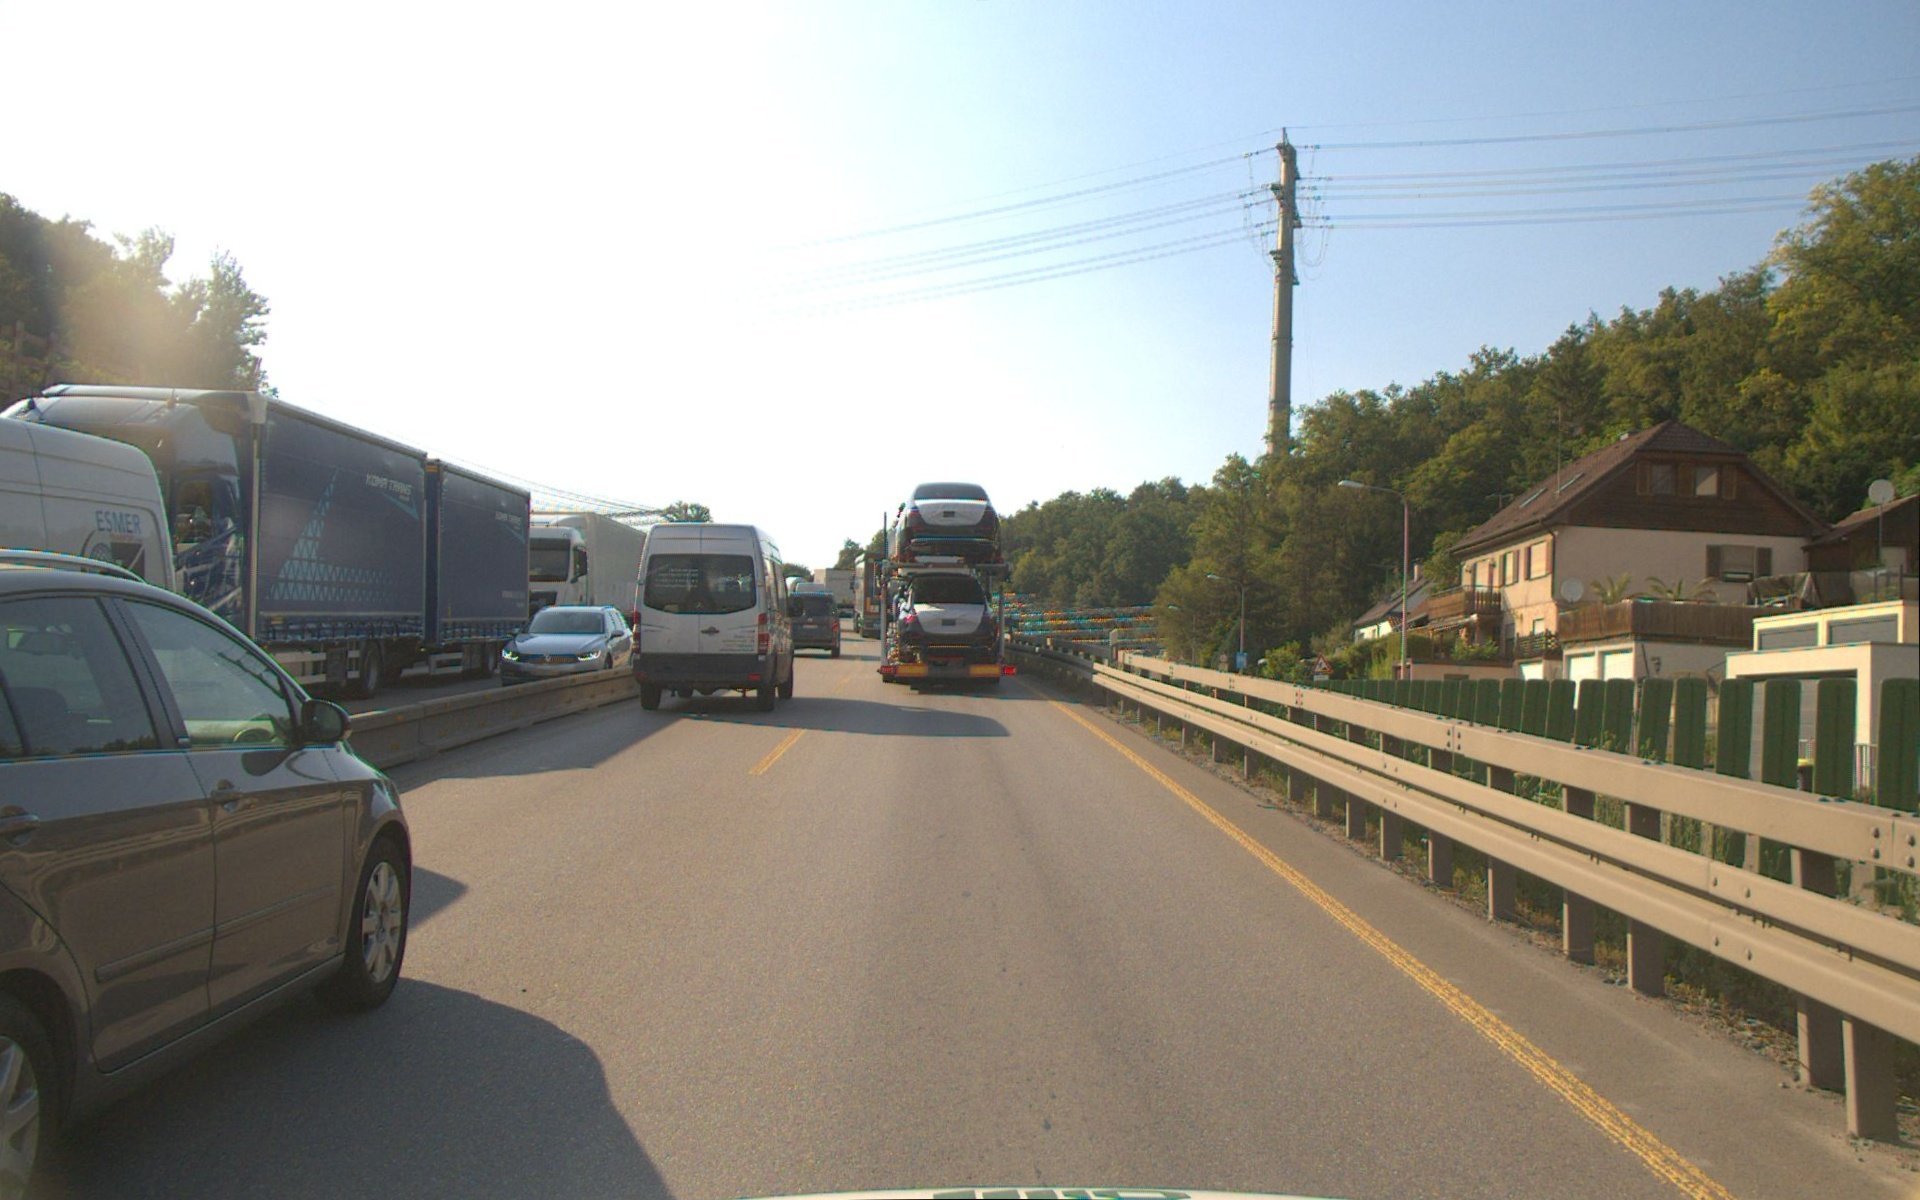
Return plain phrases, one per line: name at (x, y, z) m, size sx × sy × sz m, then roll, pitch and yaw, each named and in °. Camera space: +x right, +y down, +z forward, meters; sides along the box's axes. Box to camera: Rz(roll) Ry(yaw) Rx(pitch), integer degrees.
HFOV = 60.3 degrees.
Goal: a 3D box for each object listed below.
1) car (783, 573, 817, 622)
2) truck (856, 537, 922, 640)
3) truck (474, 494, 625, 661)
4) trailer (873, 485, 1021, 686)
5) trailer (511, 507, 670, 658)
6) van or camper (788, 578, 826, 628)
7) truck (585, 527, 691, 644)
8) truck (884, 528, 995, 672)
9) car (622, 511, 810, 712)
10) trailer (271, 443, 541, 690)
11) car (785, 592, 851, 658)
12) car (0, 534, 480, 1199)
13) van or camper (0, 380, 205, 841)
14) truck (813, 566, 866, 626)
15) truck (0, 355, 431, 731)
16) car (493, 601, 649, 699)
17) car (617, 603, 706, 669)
car at (-18.022, -0.261, 185.766) m, size 3.379 × 5.123 × 9.638 m, roll 4°, pitch -1°, yaw -7°
truck at (-3.507, -0.486, 81.299) m, size 2.850 × 4.687 × 7.281 m, roll 3°, pitch -1°, yaw -3°
truck at (-11.327, -0.523, 46.259) m, size 2.656 × 4.164 × 6.199 m, roll 4°, pitch -2°, yaw -3°
trailer at (-0.358, -0.086, 37.269) m, size 2.628 × 3.597 × 15.283 m, roll 0°, pitch -1°, yaw -1°
trailer at (-11.679, -0.358, 53.680) m, size 2.656 × 4.164 × 12.560 m, roll 4°, pitch -1°, yaw -3°
van or camper at (-8.756, 0.211, 94.966) m, size 1.930 × 2.637 × 5.037 m, roll 4°, pitch -2°, yaw -4°
truck at (-12.712, -0.513, 65.949) m, size 2.924 × 4.225 × 7.387 m, roll 4°, pitch -1°, yaw -3°
truck at (-0.673, 0.076, 45.003) m, size 2.629 × 3.597 × 7.187 m, roll 0°, pitch -1°, yaw -4°
car at (-3.614, 0.183, 25.602) m, size 1.953 × 2.694 × 5.530 m, roll 3°, pitch -1°, yaw 0°
trailer at (-10.603, -0.539, 32.855) m, size 2.554 × 4.185 × 9.621 m, roll 0°, pitch 0°, yaw -3°
car at (-4.540, 0.837, 53.420) m, size 1.772 × 1.937 × 3.998 m, roll 4°, pitch -2°, yaw -1°
car at (-2.836, 0.647, 4.818) m, size 1.646 × 1.616 × 4.271 m, roll 1°, pitch 0°, yaw -1°
van or camper at (-6.701, 0.059, 9.655) m, size 1.953 × 2.754 × 5.955 m, roll 0°, pitch 0°, yaw -1°
truck at (-10.552, -0.318, 143.220) m, size 3.987 × 4.761 × 10.577 m, roll 3°, pitch -1°, yaw -6°
truck at (-10.119, -0.610, 23.271) m, size 2.571 × 4.185 × 9.622 m, roll 0°, pitch 0°, yaw -2°
car at (-6.939, 0.891, 29.934) m, size 1.736 × 1.564 × 4.401 m, roll 2°, pitch -1°, yaw 0°
car at (-7.905, 0.962, 44.065) m, size 1.628 × 1.556 × 3.998 m, roll 4°, pitch -2°, yaw -1°
